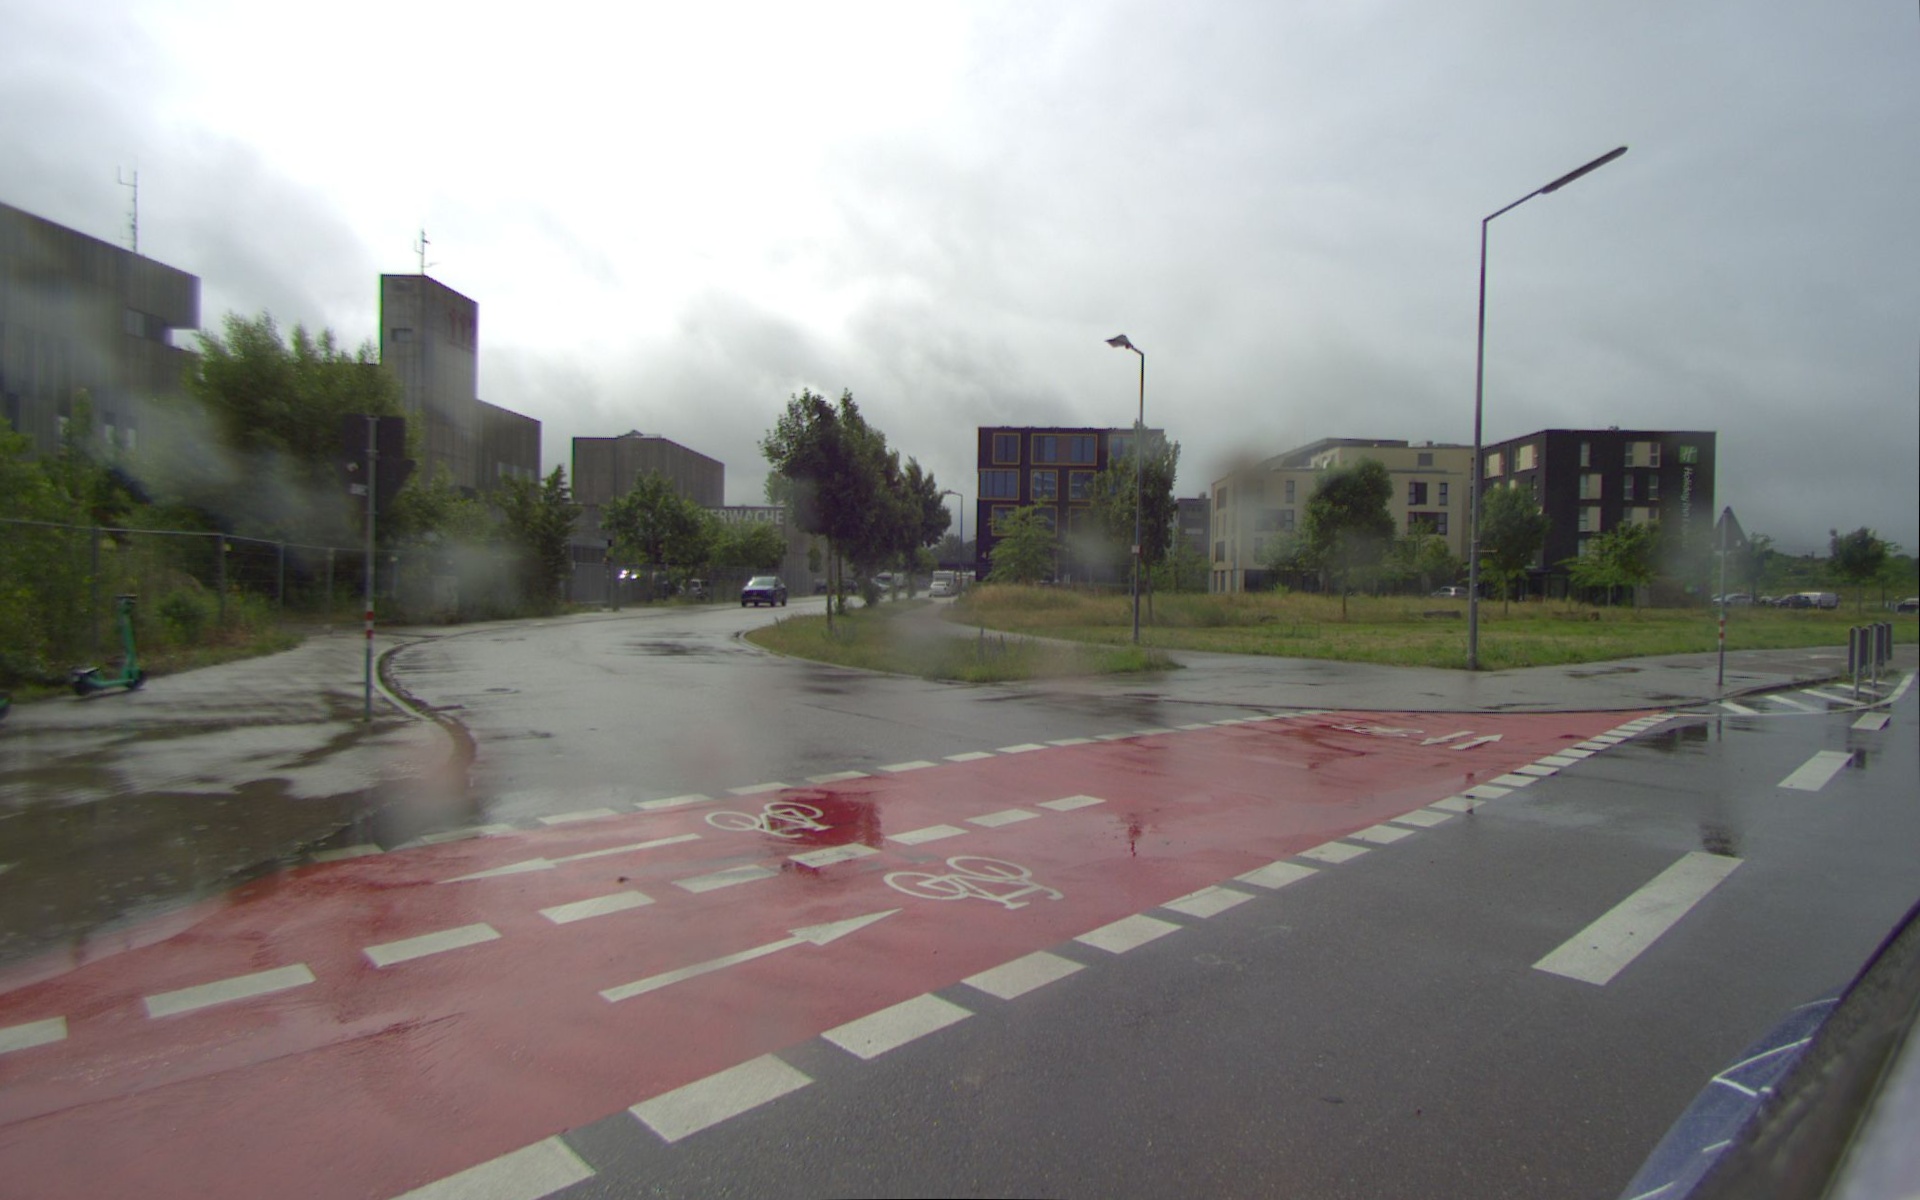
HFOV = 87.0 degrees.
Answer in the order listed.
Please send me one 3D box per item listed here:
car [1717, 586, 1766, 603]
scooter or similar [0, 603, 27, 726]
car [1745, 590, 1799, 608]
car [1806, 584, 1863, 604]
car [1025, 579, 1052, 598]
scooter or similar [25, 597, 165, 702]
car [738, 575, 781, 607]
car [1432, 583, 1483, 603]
[{"bbox_3d":[79.871,-0.550,103.502,3.591,1.631,1.595,1,0,10],"label":"car"},{"bbox_3d":[-9.403,0.629,9.397,0.473,1.164,1.196,1,1,-6],"label":"scooter or similar"},{"bbox_3d":[77.527,-0.096,96.631,3.596,1.682,1.643,1,0,14],"label":"car"},{"bbox_3d":[90.446,-0.624,104.696,3.931,2.039,1.997,1,0,7],"label":"car"},{"bbox_3d":[6.642,-0.967,85.826,1.615,1.603,3.672,1,1,-5],"label":"car"},{"bbox_3d":[-10.317,0.564,12.116,0.732,1.164,1.196,1,1,-7],"label":"scooter or similar"},{"bbox_3d":[-10.915,-0.498,55.319,1.570,1.631,3.598,1,1,2],"label":"car"},{"bbox_3d":[40.967,-0.564,83.356,3.591,1.603,1.652,0,0,-16],"label":"car"}]
